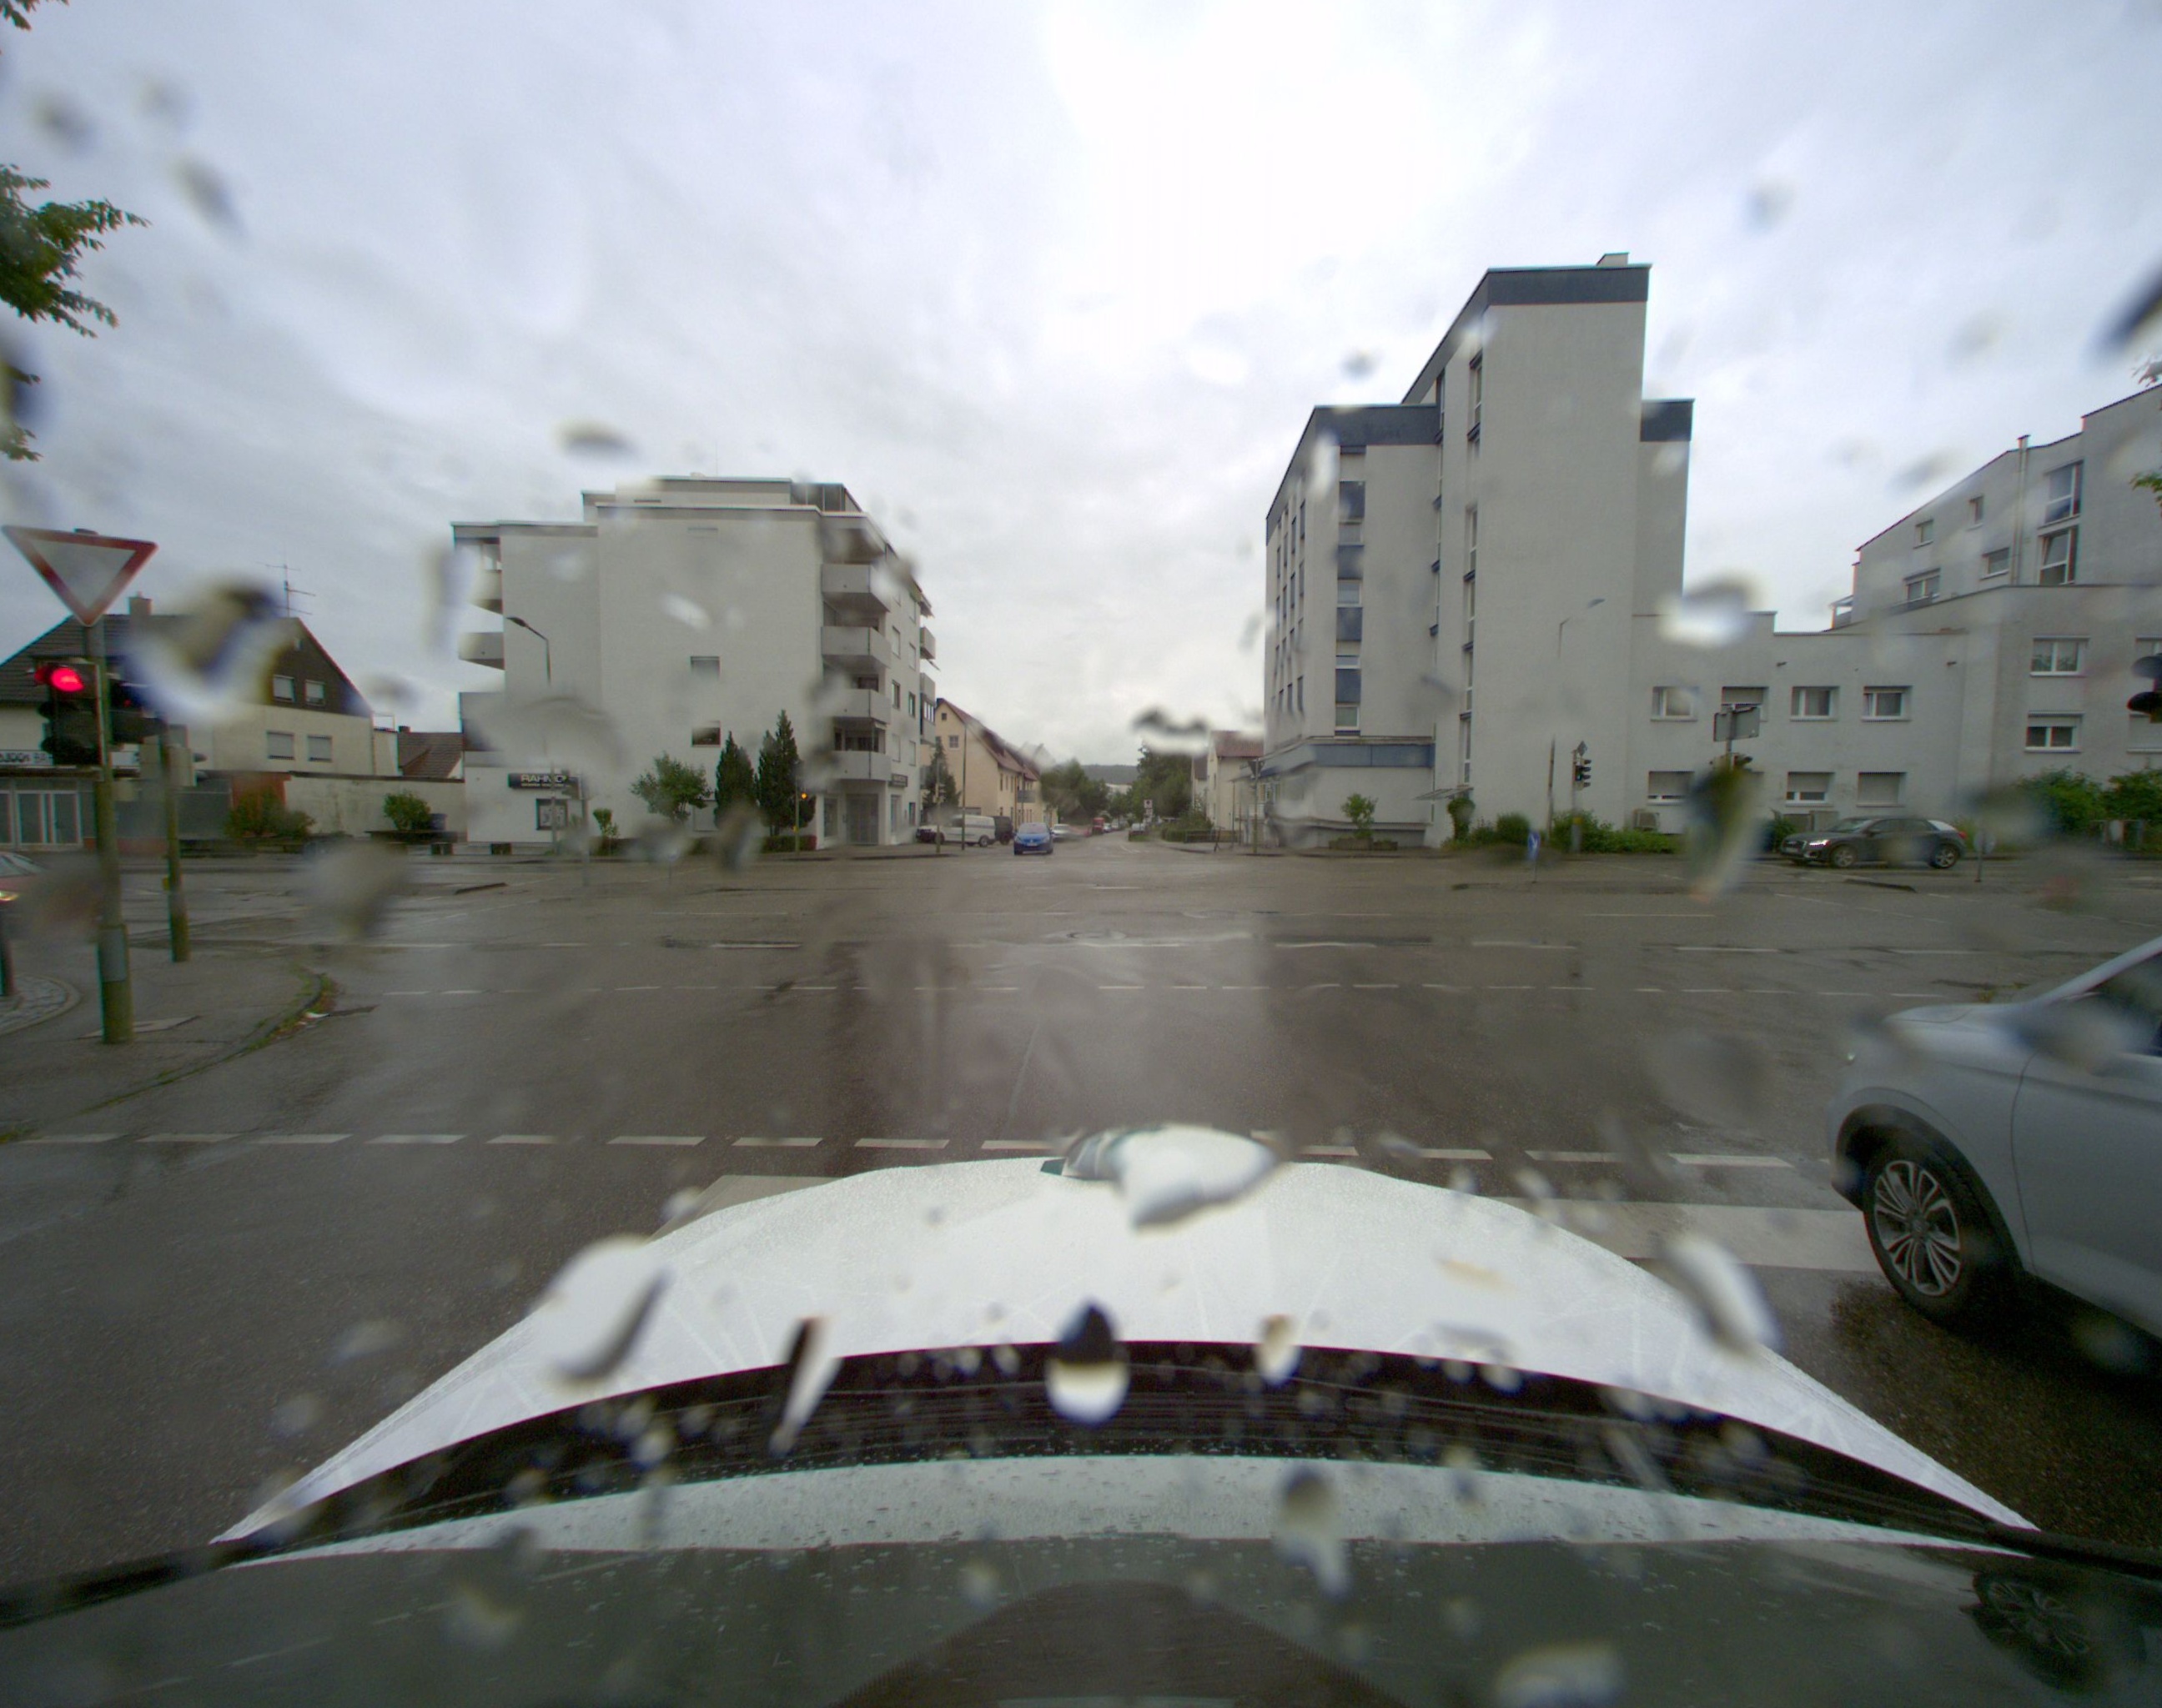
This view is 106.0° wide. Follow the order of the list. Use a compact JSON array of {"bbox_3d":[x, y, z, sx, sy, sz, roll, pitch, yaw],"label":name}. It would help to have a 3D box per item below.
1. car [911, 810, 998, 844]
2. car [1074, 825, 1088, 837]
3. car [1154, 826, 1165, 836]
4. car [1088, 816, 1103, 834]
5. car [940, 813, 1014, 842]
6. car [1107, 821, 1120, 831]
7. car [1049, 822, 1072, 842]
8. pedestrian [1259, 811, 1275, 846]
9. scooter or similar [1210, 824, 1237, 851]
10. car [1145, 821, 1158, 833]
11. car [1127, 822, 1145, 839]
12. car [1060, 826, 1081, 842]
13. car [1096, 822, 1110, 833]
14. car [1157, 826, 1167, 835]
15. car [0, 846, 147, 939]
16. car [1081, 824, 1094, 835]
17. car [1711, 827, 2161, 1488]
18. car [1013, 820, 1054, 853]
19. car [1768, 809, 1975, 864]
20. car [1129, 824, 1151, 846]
[{"bbox_3d":[-7.408,-1.531,47.948,4.751,1.778,1.753,2,-1,-37],"label":"car"},{"bbox_3d":[-0.002,-2.975,104.554,1.762,1.518,3.999,-1,1,-1],"label":"car"},{"bbox_3d":[15.631,-4.606,161.864,1.983,2.013,4.009,-1,1,7],"label":"car"},{"bbox_3d":[2.287,-4.563,127.477,2.208,2.768,5.728,-1,1,2],"label":"car"},{"bbox_3d":[-6.984,-1.768,54.918,4.644,1.888,1.941,-2,2,-37],"label":"car"},{"bbox_3d":[6.203,-5.240,154.666,1.982,1.706,4.010,-1,-1,9],"label":"car"},{"bbox_3d":[-1.717,-1.841,68.095,1.761,1.523,4.001,-1,1,0],"label":"car"},{"bbox_3d":[9.042,-1.238,39.582,0.652,1.652,0.646,0,-1,2],"label":"pedestrian"},{"bbox_3d":[6.736,-0.774,38.551,1.058,1.227,0.799,0,-1,-8],"label":"scooter or similar"},{"bbox_3d":[11.971,-4.544,137.751,1.983,2.013,4.009,-1,1,7],"label":"car"},{"bbox_3d":[7.041,-2.974,103.687,1.983,2.013,4.009,-1,1,7],"label":"car"},{"bbox_3d":[-1.001,-1.980,79.711,1.760,1.518,4.197,-1,2,2],"label":"car"},{"bbox_3d":[3.711,-4.527,139.057,1.983,1.684,4.008,0,-1,7],"label":"car"},{"bbox_3d":[16.903,-4.912,170.347,1.983,2.013,4.009,-1,1,7],"label":"car"},{"bbox_3d":[-20.813,0.693,15.441,4.074,1.505,1.783,0,6,2],"label":"car"},{"bbox_3d":[0.883,-3.406,112.848,1.762,1.518,3.999,-1,1,-1],"label":"car"},{"bbox_3d":[3.372,0.727,1.687,1.678,1.554,3.919,-1,1,10],"label":"car"},{"bbox_3d":[-2.216,-0.811,38.774,1.762,1.445,3.998,0,-1,-1],"label":"car"},{"bbox_3d":[23.259,-0.528,24.121,4.110,1.485,1.748,-1,4,10],"label":"car"},{"bbox_3d":[5.907,-1.855,81.510,1.983,2.014,4.008,0,-1,7],"label":"car"}]
